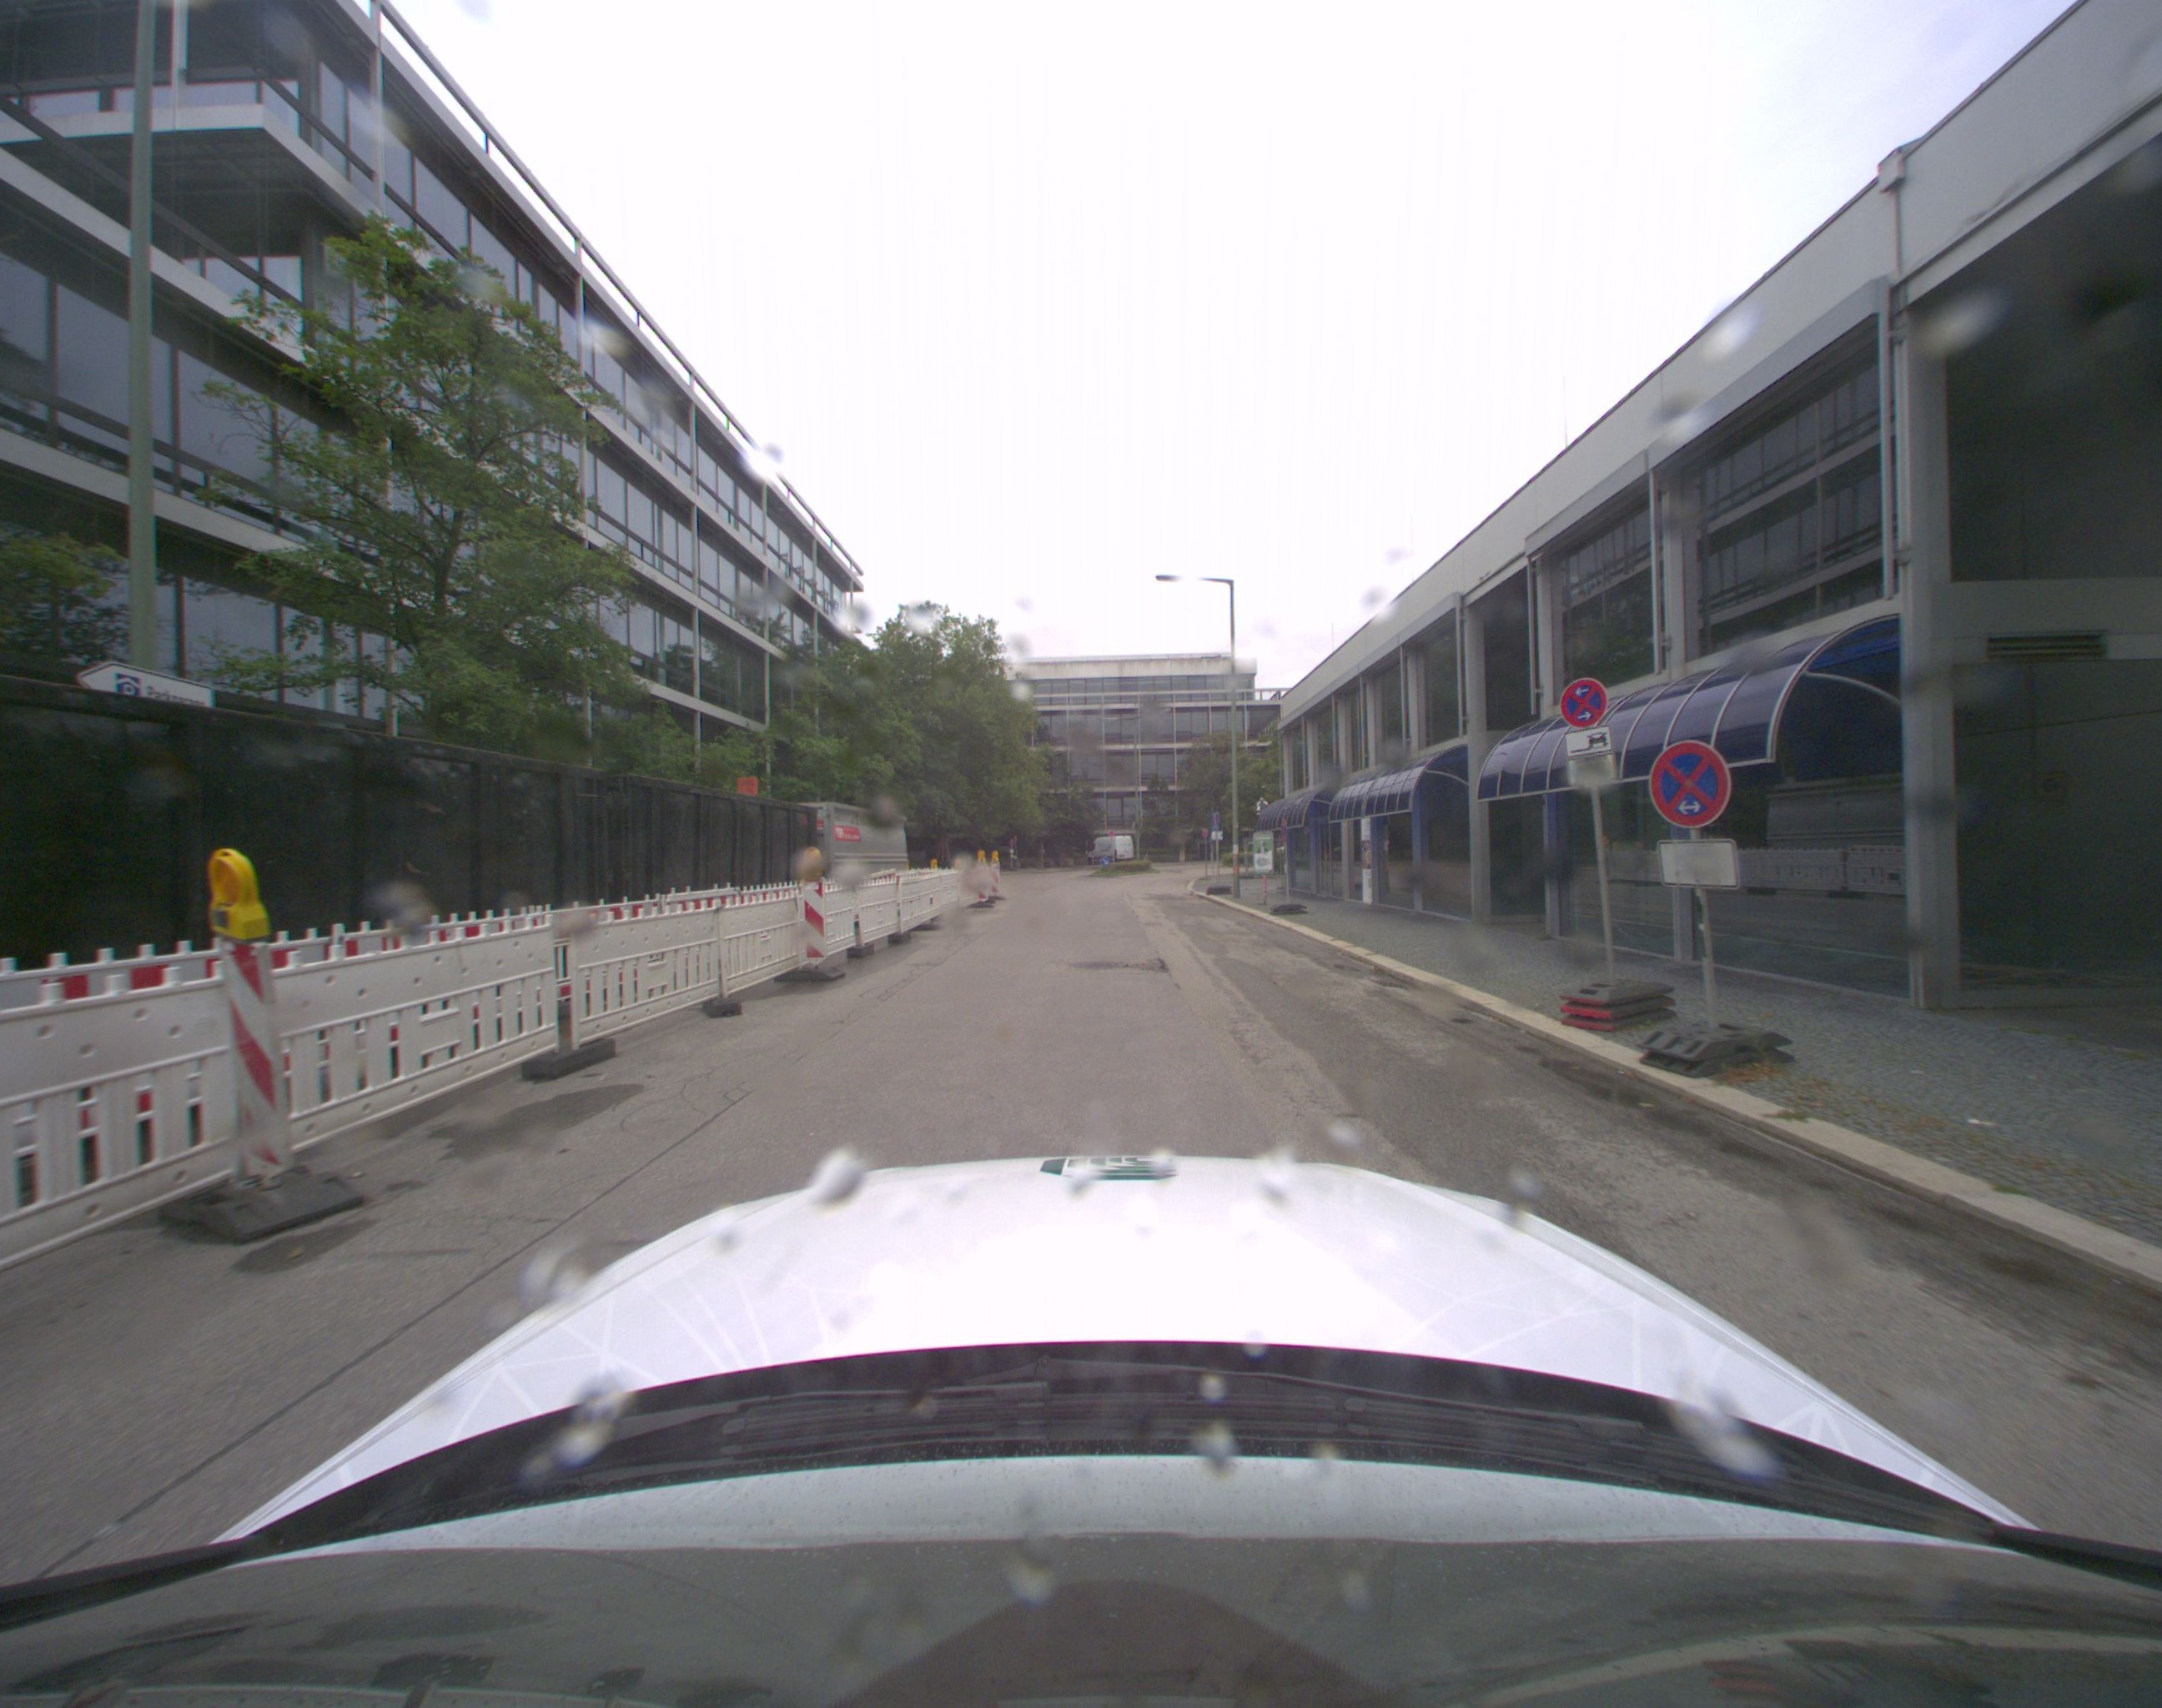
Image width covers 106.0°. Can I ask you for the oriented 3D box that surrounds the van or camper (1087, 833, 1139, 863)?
[{"bbox_3d":[2.967,-0.481,77.484,2.166,2.580,6.486,-1,-1,-24],"label":"van or camper"}]

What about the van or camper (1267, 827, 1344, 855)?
[{"bbox_3d":[20.447,-1.190,74.220,6.404,2.281,2.245,-2,0,-13],"label":"van or camper"}]

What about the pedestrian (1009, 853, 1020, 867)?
[{"bbox_3d":[-6.131,0.521,75.484,0.922,1.278,0.542,-1,0,3],"label":"pedestrian"}]
